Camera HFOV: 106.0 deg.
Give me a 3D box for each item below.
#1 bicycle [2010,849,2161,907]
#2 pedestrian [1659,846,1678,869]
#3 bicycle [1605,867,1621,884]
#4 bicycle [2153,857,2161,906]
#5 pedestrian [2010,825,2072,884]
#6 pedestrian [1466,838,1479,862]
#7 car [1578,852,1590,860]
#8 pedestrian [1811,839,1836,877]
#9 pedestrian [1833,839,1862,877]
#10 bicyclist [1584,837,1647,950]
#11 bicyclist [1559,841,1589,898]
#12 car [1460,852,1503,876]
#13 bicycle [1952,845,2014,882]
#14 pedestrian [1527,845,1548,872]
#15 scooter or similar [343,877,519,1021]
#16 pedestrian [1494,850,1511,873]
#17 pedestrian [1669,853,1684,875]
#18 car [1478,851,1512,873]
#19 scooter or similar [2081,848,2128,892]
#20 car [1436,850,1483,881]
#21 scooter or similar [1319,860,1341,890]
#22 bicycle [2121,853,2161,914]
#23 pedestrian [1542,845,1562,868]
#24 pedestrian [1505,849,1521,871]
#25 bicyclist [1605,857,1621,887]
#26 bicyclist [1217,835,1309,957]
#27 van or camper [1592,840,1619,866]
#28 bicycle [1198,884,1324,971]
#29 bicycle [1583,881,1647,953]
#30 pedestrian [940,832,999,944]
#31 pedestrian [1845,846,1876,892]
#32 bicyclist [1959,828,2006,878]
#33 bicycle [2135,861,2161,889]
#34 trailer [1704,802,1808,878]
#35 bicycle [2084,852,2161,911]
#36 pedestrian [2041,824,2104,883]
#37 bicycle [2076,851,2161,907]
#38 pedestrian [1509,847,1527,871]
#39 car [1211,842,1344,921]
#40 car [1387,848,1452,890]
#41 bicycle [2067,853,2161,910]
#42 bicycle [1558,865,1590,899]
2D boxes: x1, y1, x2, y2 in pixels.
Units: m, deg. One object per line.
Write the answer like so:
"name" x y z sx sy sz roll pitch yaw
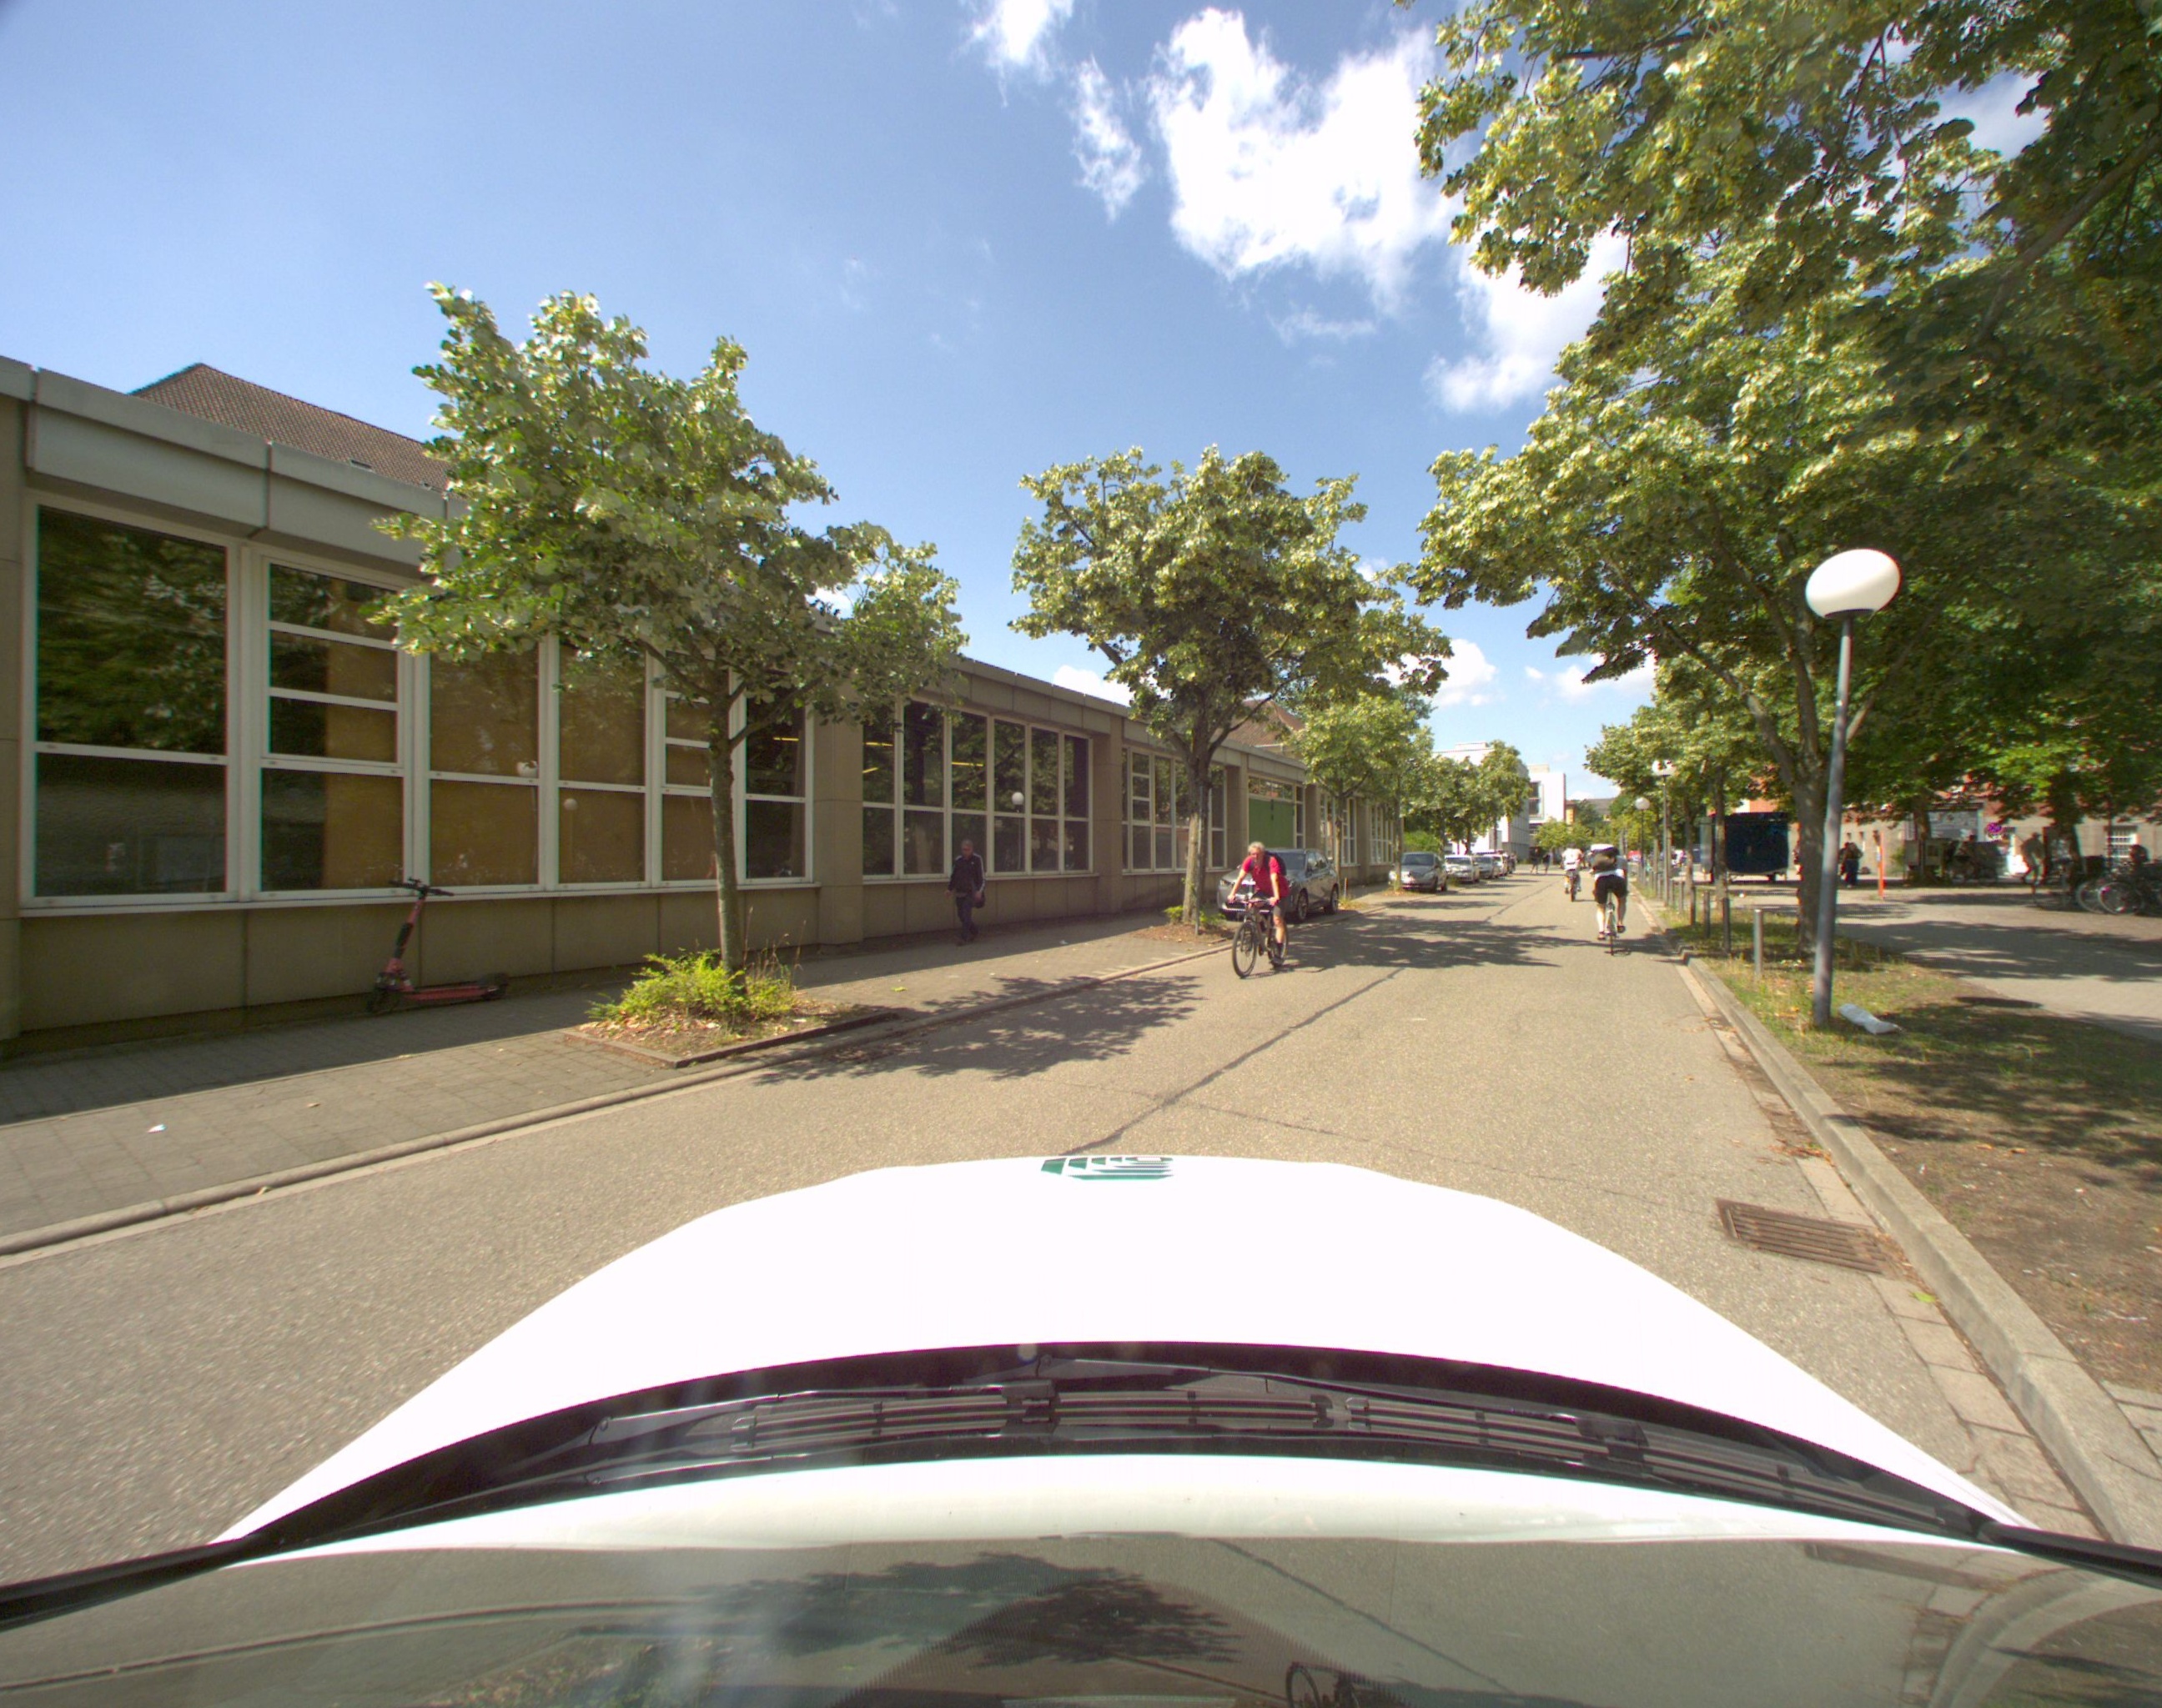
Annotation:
"bicycle" 20.798 0.487 16.843 1.997 1.167 0.655 -1 -1 21
"pedestrian" 44.021 0.251 61.027 0.950 1.694 0.709 5 5 43
"bicycle" 32.010 1.283 48.997 0.800 1.002 2.137 0 -1 34
"bicycle" 25.719 0.612 18.421 1.791 1.118 0.614 -1 -1 11
"pedestrian" 32.938 0.036 27.970 0.826 1.949 1.082 -2 -1 13
"pedestrian" 33.095 -0.345 68.831 0.614 1.980 0.829 0 -2 2
"car" 105.033 0.406 170.128 1.778 1.530 4.025 -1 -1 37
"pedestrian" 33.158 0.201 36.375 0.690 1.661 0.793 -2 -2 33
"pedestrian" 33.814 0.179 35.957 0.758 1.661 0.829 -2 -2 33
"bicyclist" 8.409 0.587 12.797 0.710 1.662 1.102 2 1 37
"bicyclist" 15.699 0.468 25.956 0.763 1.756 0.853 2 1 31
"car" 24.270 0.561 49.309 1.708 1.343 4.192 2 1 34
"bicycle" 31.710 0.326 28.660 0.526 1.252 1.744 -2 -1 13
"pedestrian" 33.997 0.360 60.696 0.851 1.859 1.114 -4 5 -8
"scooter or similar" -6.168 0.857 7.783 0.379 1.207 1.254 2 1 32
"pedestrian" 33.507 0.593 64.755 0.701 1.739 0.977 1 1 -21
"pedestrian" 45.963 0.780 62.858 0.500 1.630 0.571 -8 -2 -1
"car" 27.745 0.506 54.547 1.646 1.411 3.831 1 0 33
"scooter or similar" 29.157 0.452 23.212 0.420 1.219 1.302 -1 -2 33
"car" 19.687 0.594 42.259 1.709 1.456 4.612 2 0 31
"scooter or similar" 9.985 0.823 32.608 0.500 1.169 1.223 1 0 33
"bicycle" 20.056 0.517 14.509 1.927 1.082 0.407 -1 -1 21
"pedestrian" 33.693 0.158 58.282 0.847 1.595 0.827 -1 -1 -10
"pedestrian" 34.345 0.505 64.776 0.678 1.739 0.903 0 -2 -19
"bicyclist" 32.085 1.070 49.119 0.800 1.756 0.697 0 -1 34
"bicyclist" 2.434 0.541 10.901 0.827 1.543 0.965 -2 -2 40
"van or camper" 51.931 -0.029 80.529 1.974 2.446 4.598 -1 -2 36
"bicycle" 2.455 0.965 10.930 0.808 1.042 1.943 -1 -4 40
"bicycle" 8.524 0.962 12.967 0.700 0.993 1.922 2 1 37
"pedestrian" -1.840 0.543 13.498 0.783 1.787 0.672 1 1 10
"pedestrian" 26.925 0.527 28.133 0.563 1.572 0.933 -2 -3 33
"bicyclist" 31.702 -0.027 28.666 0.526 1.729 1.082 -2 -1 13
"bicycle" 41.864 0.824 30.792 0.787 1.072 2.375 2 0 -45
"trailer" 29.790 -0.514 36.209 2.665 3.052 6.296 -2 -1 32
"bicycle" 20.228 0.514 15.203 1.927 1.082 0.407 -1 -1 21
"pedestrian" 33.803 0.004 27.785 0.826 1.949 1.082 -2 -1 13
"bicycle" 20.770 0.481 15.865 1.752 1.082 0.440 -1 -1 21
"pedestrian" 33.251 0.394 62.000 0.706 1.721 0.983 7 -7 -34
"car" 4.840 0.589 19.509 1.804 1.632 4.545 2 0 30
"car" 13.632 0.573 32.681 1.740 1.556 4.139 2 0 31
"bicycle" 20.378 0.526 15.610 1.927 1.082 0.407 -1 -1 21
"bicycle" 15.676 0.881 25.927 0.800 1.002 2.137 -3 -2 30
